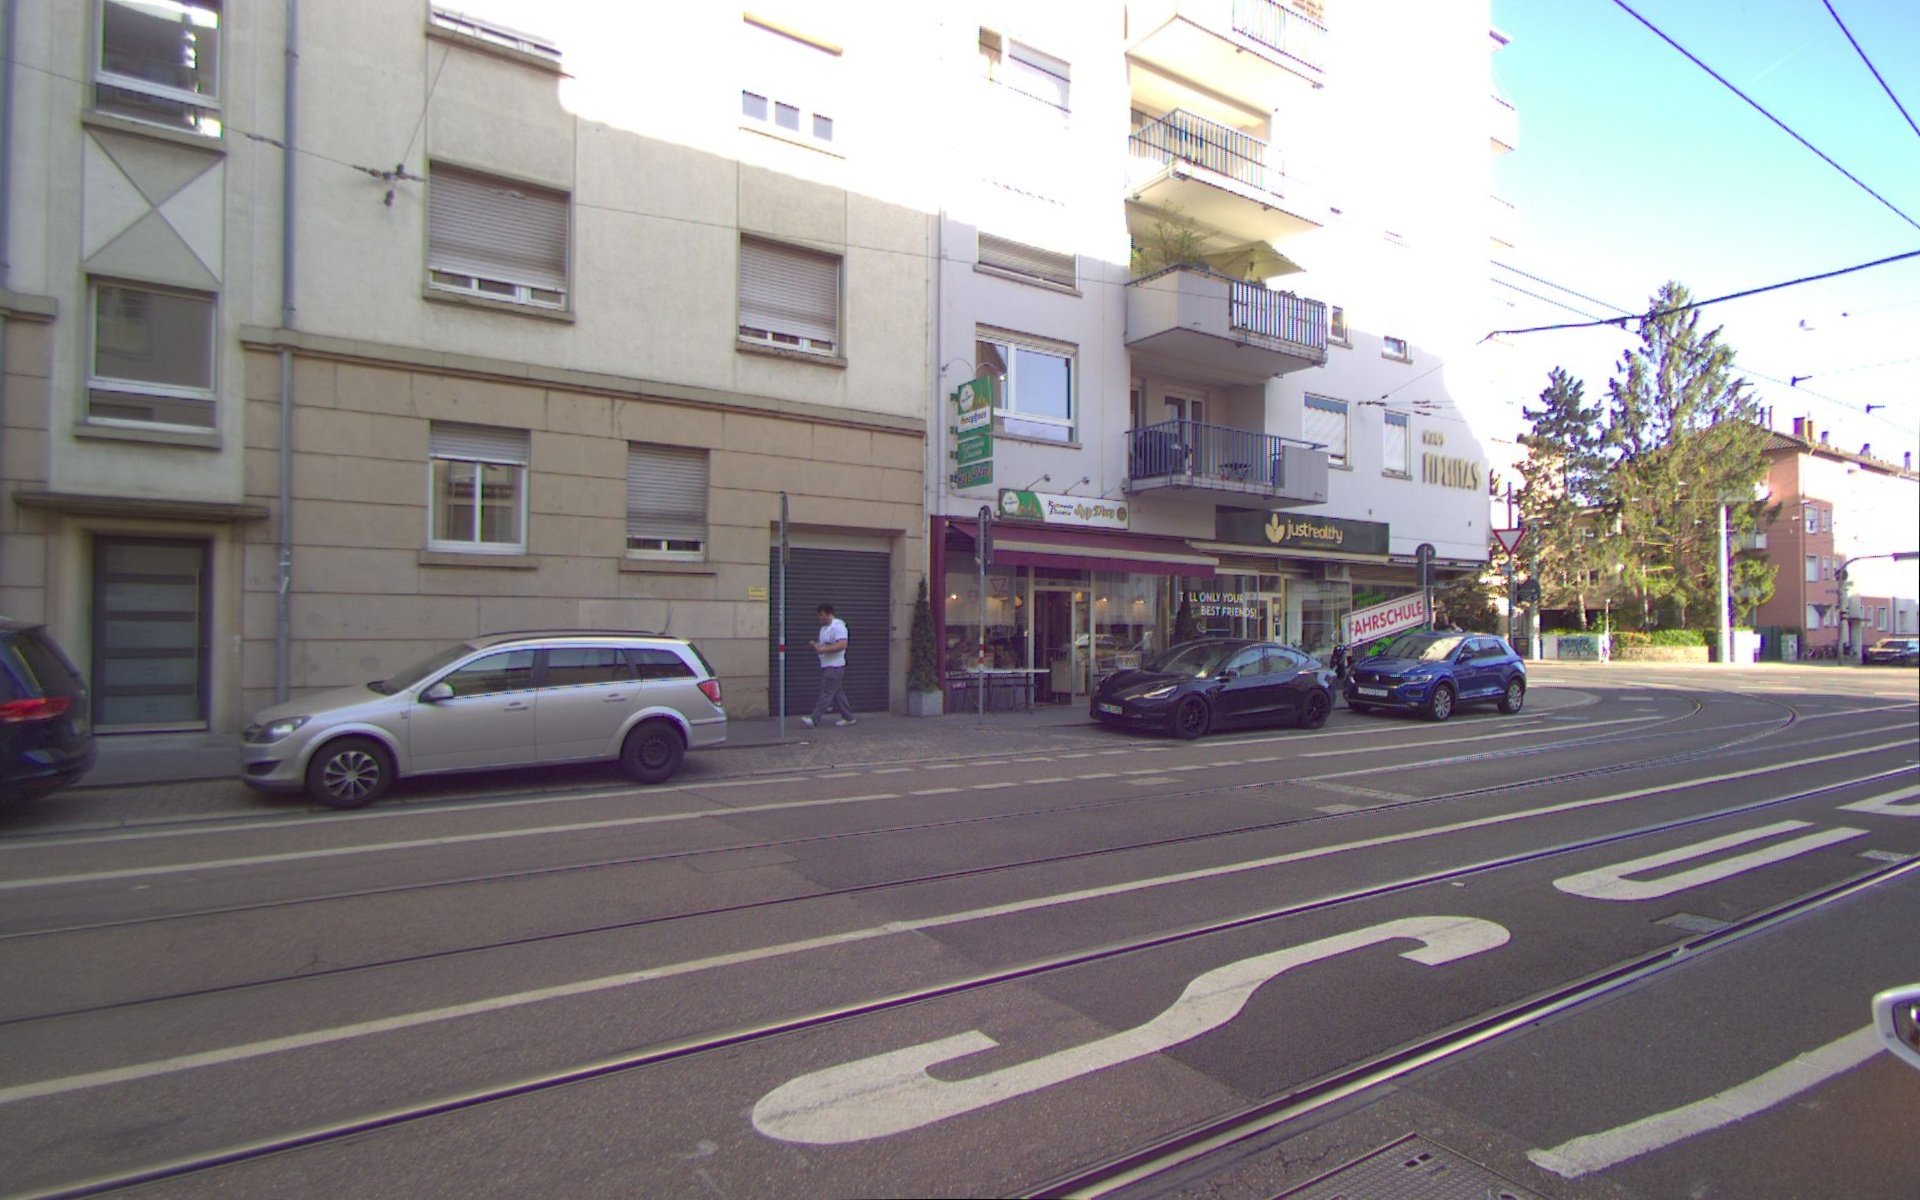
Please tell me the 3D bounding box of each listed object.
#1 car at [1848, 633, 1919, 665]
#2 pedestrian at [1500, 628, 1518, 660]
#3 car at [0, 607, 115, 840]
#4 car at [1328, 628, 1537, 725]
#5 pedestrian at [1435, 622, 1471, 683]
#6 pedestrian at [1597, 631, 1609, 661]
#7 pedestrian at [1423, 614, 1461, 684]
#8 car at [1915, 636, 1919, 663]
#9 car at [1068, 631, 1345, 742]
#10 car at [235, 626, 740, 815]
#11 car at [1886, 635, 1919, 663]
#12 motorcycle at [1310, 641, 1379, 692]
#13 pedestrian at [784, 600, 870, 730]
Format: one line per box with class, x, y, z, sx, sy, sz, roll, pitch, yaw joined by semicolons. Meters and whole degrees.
car;49.735;2.647;53.887;4.397;1.450;2.140;4;-2;-35
pedestrian;31.220;2.481;57.124;0.772;1.744;0.702;2;0;37
car;-8.962;0.874;7.162;4.282;1.655;1.802;2;1;-35
car;9.026;1.358;19.065;4.196;1.524;1.757;0;1;-36
pedestrian;14.766;1.555;30.087;0.653;1.816;0.733;1;-1;-27
pedestrian;34.390;2.448;53.717;0.509;1.589;0.572;2;0;33
pedestrian;13.627;1.389;28.421;0.727;1.925;0.573;3;-2;-15
car;58.306;2.972;59.395;4.185;1.546;1.731;2;0;-34
car;4.009;1.293;16.056;4.398;1.494;1.759;2;0;-33
car;-4.614;1.065;10.171;4.327;1.474;1.714;2;1;-35
car;54.381;2.781;56.823;4.057;1.456;1.893;2;0;-32
motorcycle;9.194;1.572;23.967;1.778;1.149;0.603;2;0;-34
pedestrian;-1.918;0.915;14.502;0.998;1.791;0.656;2;0;-40
